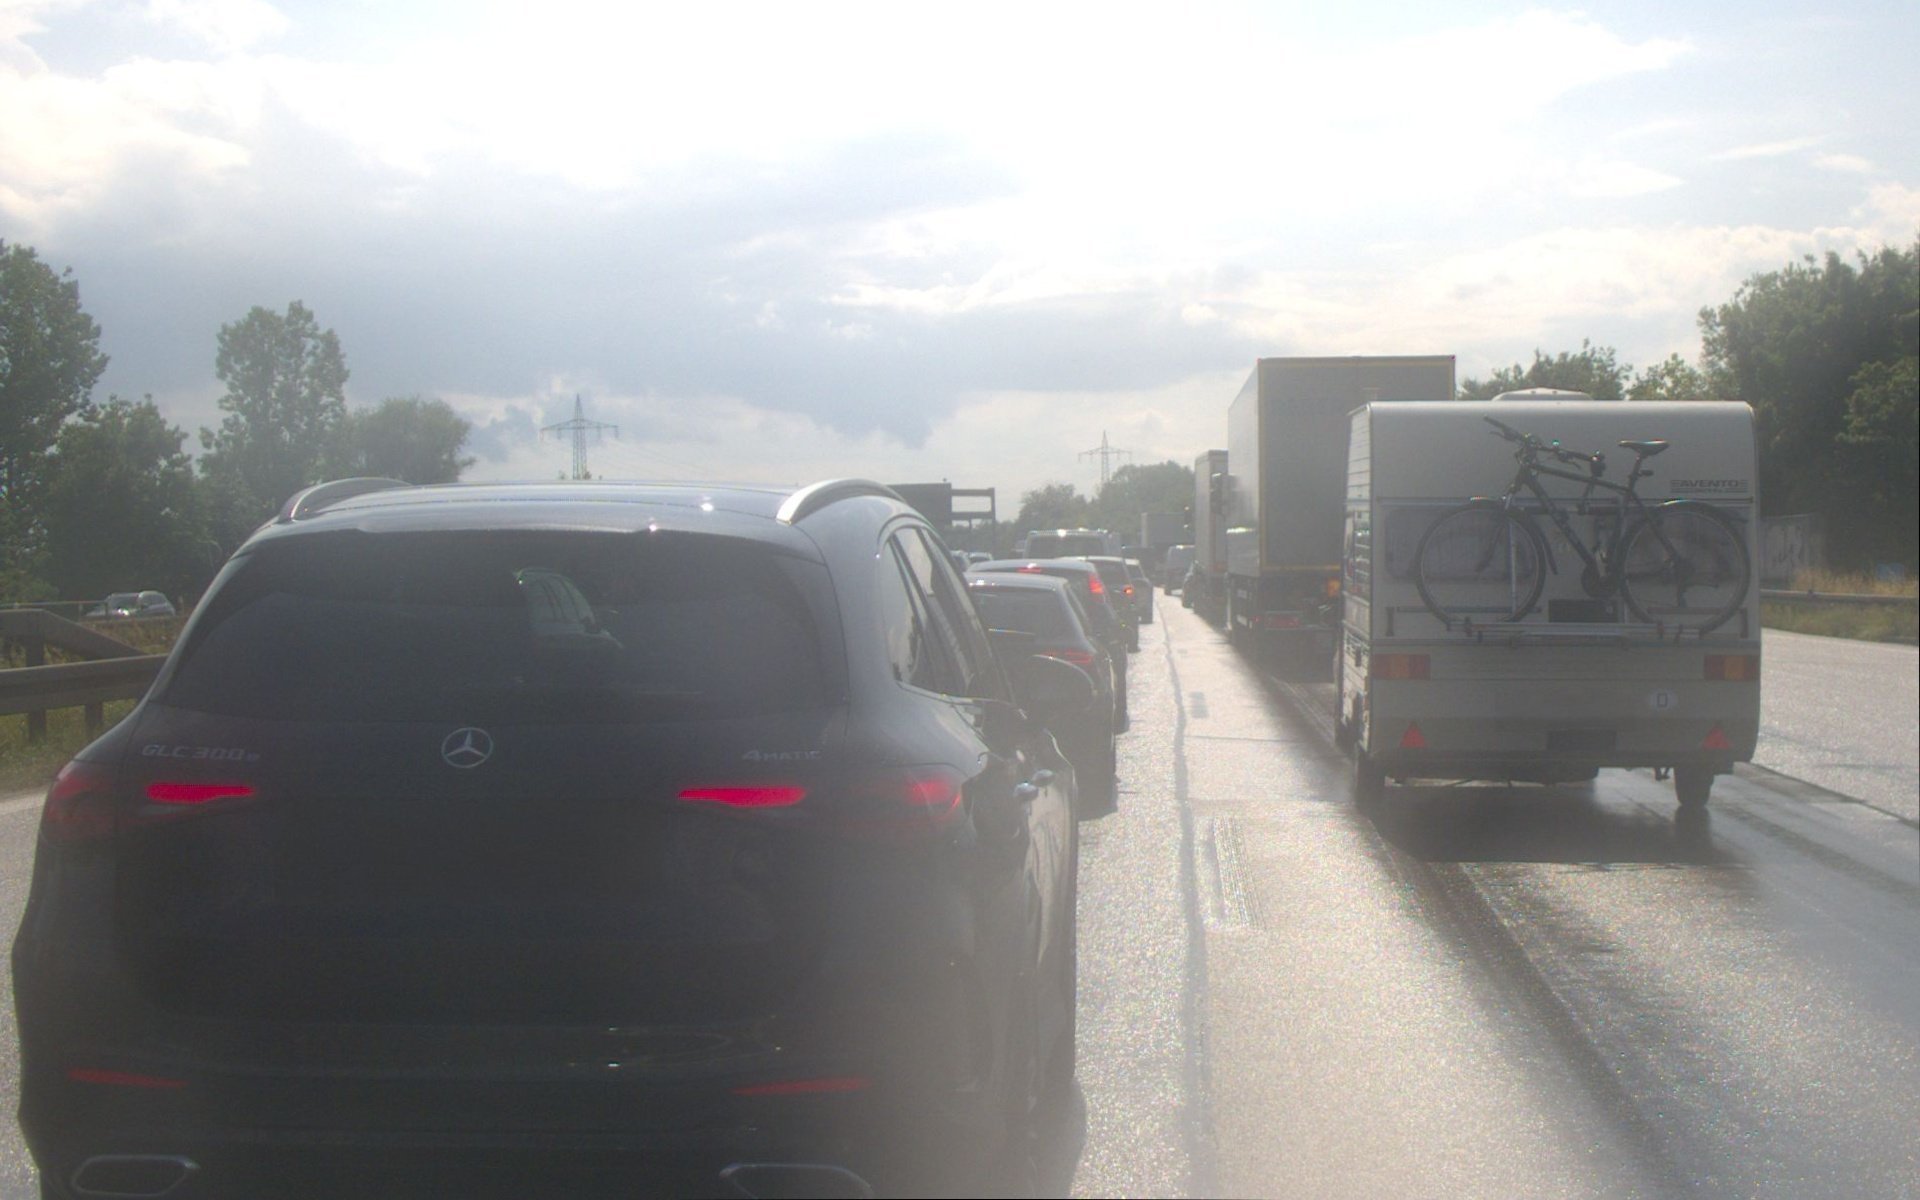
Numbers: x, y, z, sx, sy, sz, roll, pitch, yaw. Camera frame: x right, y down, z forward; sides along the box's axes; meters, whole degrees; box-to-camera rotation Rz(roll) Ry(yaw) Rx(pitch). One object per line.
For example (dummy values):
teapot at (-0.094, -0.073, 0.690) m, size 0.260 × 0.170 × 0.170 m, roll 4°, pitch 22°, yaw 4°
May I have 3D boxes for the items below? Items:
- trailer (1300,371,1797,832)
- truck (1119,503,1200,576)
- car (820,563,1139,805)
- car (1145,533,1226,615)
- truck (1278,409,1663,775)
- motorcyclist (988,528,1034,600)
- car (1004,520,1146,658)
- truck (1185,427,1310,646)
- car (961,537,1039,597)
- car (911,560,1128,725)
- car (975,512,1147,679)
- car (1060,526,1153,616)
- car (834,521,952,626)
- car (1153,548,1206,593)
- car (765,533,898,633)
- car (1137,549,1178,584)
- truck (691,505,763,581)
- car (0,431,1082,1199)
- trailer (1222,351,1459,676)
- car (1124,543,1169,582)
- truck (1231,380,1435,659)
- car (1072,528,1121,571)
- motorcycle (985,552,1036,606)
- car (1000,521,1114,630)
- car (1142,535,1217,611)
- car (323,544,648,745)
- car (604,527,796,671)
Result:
trailer at (3.508, -0.029, 21.902) m, size 2.374 × 2.475 × 6.522 m, roll 1°, pitch 1°, yaw 3°
truck at (11.341, -3.421, 196.435) m, size 3.843 × 4.003 × 11.222 m, roll 1°, pitch 1°, yaw -1°
car at (0.214, 0.468, 21.892) m, size 1.757 × 1.382 × 3.944 m, roll 0°, pitch 1°, yaw 4°
car at (5.816, -0.689, 88.549) m, size 1.994 × 2.007 × 4.000 m, roll 2°, pitch 1°, yaw 4°
truck at (3.744, -0.087, 26.338) m, size 2.374 × 2.468 × 5.755 m, roll 1°, pitch 1°, yaw 3°
motorcyclist at (1.222, -0.868, 82.917) m, size 1.064 × 1.712 × 0.785 m, roll 0°, pitch 0°, yaw 4°
car at (1.872, -0.199, 54.847) m, size 1.994 × 2.007 × 4.000 m, roll 4°, pitch 1°, yaw 4°
truck at (6.592, -1.447, 79.578) m, size 2.502 × 4.813 × 7.543 m, roll 1°, pitch 1°, yaw 2°
car at (1.209, -0.990, 101.562) m, size 1.994 × 1.610 × 4.000 m, roll 4°, pitch 1°, yaw 4°
car at (0.610, 0.342, 31.644) m, size 1.806 × 1.402 × 4.000 m, roll 1°, pitch 1°, yaw 4°
car at (1.334, -0.085, 43.744) m, size 1.994 × 2.007 × 4.000 m, roll 1°, pitch 1°, yaw 4°
car at (3.364, -0.672, 78.349) m, size 1.994 × 2.007 × 4.000 m, roll 0°, pitch 1°, yaw 4°
car at (-1.373, -0.558, 71.738) m, size 1.994 × 2.007 × 4.000 m, roll 4°, pitch 1°, yaw 4°
car at (8.692, -1.163, 136.282) m, size 1.876 × 1.754 × 4.000 m, roll 1°, pitch 1°, yaw 1°
car at (-2.305, -0.325, 62.674) m, size 1.994 × 1.766 × 4.000 m, roll 0°, pitch 1°, yaw 4°
car at (10.095, -1.734, 175.843) m, size 1.876 × 1.754 × 4.000 m, roll 1°, pitch 1°, yaw 1°
truck at (-12.089, -2.941, 178.943) m, size 2.862 × 3.808 × 7.877 m, roll 0°, pitch 0°, yaw 3°
car at (-0.763, 0.527, 7.939) m, size 1.994 × 1.656 × 4.405 m, roll 0°, pitch 1°, yaw 3°
trailer at (5.285, -1.164, 48.362) m, size 3.007 × 4.152 × 8.534 m, roll 0°, pitch 1°, yaw 5°
car at (8.417, -1.692, 155.393) m, size 1.876 × 1.754 × 4.000 m, roll 1°, pitch 1°, yaw 1°
truck at (5.809, -1.239, 53.877) m, size 2.996 × 4.152 × 5.239 m, roll 0°, pitch 1°, yaw 6°
car at (5.587, -2.070, 141.316) m, size 1.876 × 1.754 × 4.000 m, roll 1°, pitch 1°, yaw 1°
motorcycle at (1.221, -0.519, 82.916) m, size 1.074 × 1.267 × 2.690 m, roll 0°, pitch 1°, yaw 4°
car at (1.884, -0.477, 65.719) m, size 1.994 × 2.007 × 4.000 m, roll 0°, pitch 1°, yaw 4°
car at (6.312, -0.795, 98.507) m, size 1.994 × 2.007 × 4.000 m, roll 4°, pitch 1°, yaw 4°
car at (-3.763, 0.305, 27.962) m, size 1.757 × 1.511 × 4.208 m, roll 0°, pitch 1°, yaw 4°
car at (-3.243, -0.035, 43.629) m, size 1.993 × 1.714 × 4.000 m, roll 1°, pitch 1°, yaw 2°
